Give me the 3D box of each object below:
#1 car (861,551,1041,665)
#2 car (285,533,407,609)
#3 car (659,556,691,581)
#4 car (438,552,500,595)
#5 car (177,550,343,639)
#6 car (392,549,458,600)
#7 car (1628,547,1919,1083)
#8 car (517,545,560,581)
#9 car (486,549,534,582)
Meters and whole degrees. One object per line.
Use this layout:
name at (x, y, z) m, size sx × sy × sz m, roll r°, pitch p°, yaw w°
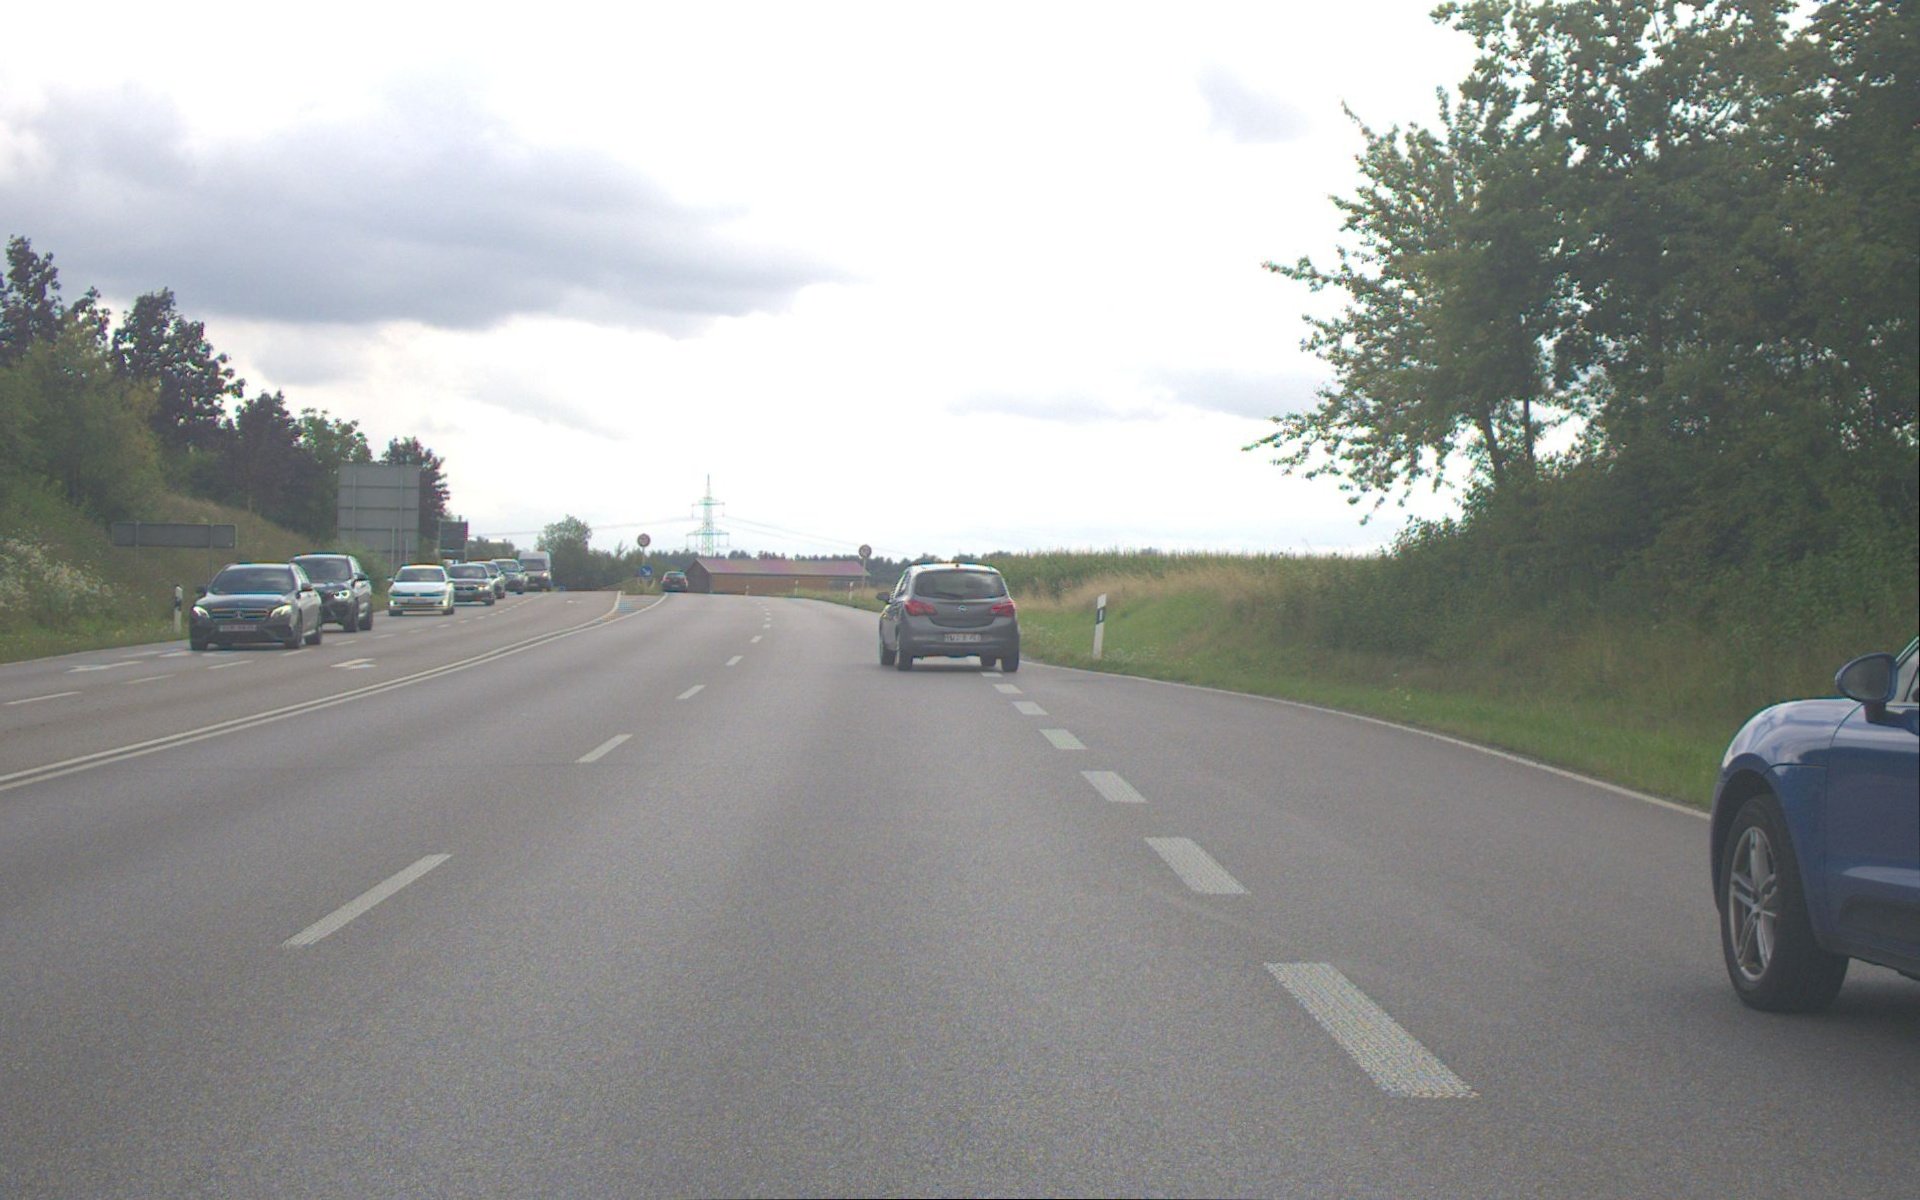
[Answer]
car at (-0.176, 0.083, 48.758) m, size 1.993 × 1.530 × 4.001 m, roll 1°, pitch 1°, yaw -8°
car at (-13.437, -0.647, 75.495) m, size 1.993 × 1.605 × 4.993 m, roll 0°, pitch 1°, yaw -2°
car at (-19.478, -2.147, 235.157) m, size 1.993 × 1.709 × 4.000 m, roll 0°, pitch 1°, yaw -3°
car at (-17.157, -0.938, 120.305) m, size 1.993 × 1.503 × 4.001 m, roll 0°, pitch 1°, yaw -6°
car at (-12.253, -0.134, 60.480) m, size 1.993 × 1.489 × 4.993 m, roll 0°, pitch 1°, yaw -1°
car at (-15.495, -0.747, 99.764) m, size 1.667 × 1.437 × 4.147 m, roll 0°, pitch 1°, yaw -6°
car at (3.796, 0.662, 10.321) m, size 1.993 × 1.565 × 4.757 m, roll 2°, pitch 1°, yaw -8°
car at (-25.957, -2.291, 211.909) m, size 2.363 × 2.204 × 5.923 m, roll 0°, pitch 1°, yaw -5°
car at (-21.375, -1.644, 163.284) m, size 1.993 × 1.503 × 4.001 m, roll 0°, pitch 1°, yaw -4°
